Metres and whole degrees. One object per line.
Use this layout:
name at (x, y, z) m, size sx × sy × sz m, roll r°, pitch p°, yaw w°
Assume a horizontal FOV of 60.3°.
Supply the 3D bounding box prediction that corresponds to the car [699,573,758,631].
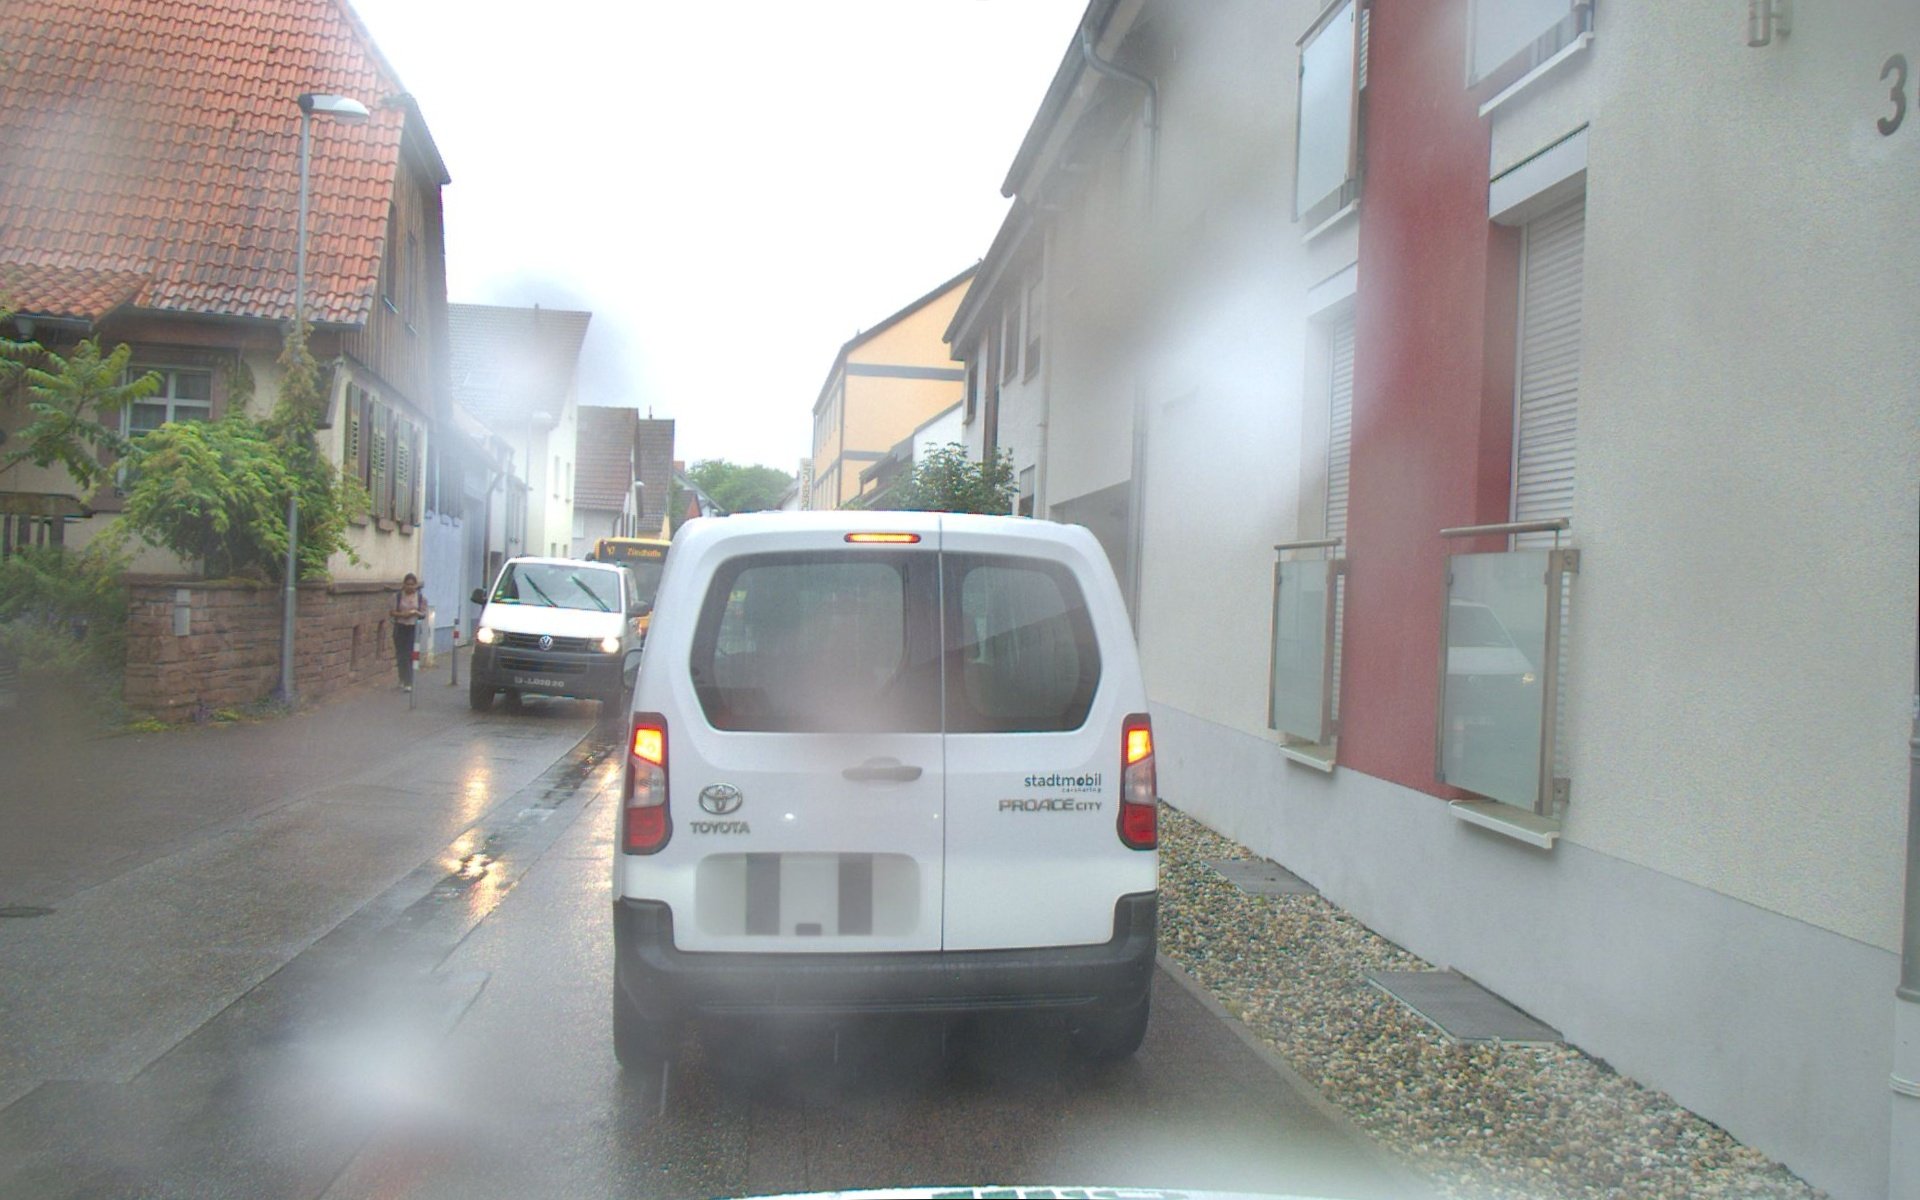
car at (-6.639, 0.070, 47.682) m, size 1.532 × 1.506 × 3.579 m, roll 4°, pitch -1°, yaw -7°

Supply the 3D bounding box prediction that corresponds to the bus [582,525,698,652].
bus at (-9.679, -0.273, 50.779) m, size 2.741 × 3.387 × 8.164 m, roll 4°, pitch -1°, yaw -7°

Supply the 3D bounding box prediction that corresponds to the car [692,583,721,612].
car at (-16.245, -0.148, 105.947) m, size 1.549 × 1.754 × 3.546 m, roll 3°, pitch -1°, yaw -6°

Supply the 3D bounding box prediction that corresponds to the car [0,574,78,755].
car at (-9.192, 0.429, 13.119) m, size 3.459 × 1.400 × 1.593 m, roll 3°, pitch 0°, yaw -5°

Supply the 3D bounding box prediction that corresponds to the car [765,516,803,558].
car at (-9.901, -3.492, 92.968) m, size 1.955 × 2.049 × 3.994 m, roll 4°, pitch -1°, yaw -6°

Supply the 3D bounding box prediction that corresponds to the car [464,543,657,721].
car at (-5.157, 0.407, 21.940) m, size 1.857 × 2.001 × 4.715 m, roll 4°, pitch -1°, yaw -7°

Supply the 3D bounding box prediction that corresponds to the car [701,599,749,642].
car at (-8.407, 0.740, 59.260) m, size 1.532 × 1.395 × 3.579 m, roll 4°, pitch -1°, yaw -7°

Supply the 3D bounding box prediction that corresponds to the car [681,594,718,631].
car at (-13.257, 0.641, 84.370) m, size 1.549 × 1.754 × 3.546 m, roll 3°, pitch -1°, yaw -6°

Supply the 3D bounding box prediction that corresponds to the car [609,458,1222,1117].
car at (-0.367, 0.552, 6.807) m, size 1.761 × 1.850 × 4.094 m, roll 1°, pitch -1°, yaw -8°

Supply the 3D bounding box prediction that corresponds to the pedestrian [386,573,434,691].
pedestrian at (-7.406, 0.428, 22.297) m, size 0.558 × 1.557 × 0.566 m, roll 1°, pitch -1°, yaw -17°

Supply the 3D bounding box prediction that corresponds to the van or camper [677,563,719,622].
van or camper at (-14.157, -0.365, 89.694) m, size 1.800 × 2.976 × 5.356 m, roll 3°, pitch -1°, yaw -6°

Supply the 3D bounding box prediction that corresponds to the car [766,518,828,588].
car at (-5.353, -1.489, 54.070) m, size 1.793 × 2.049 × 3.687 m, roll 4°, pitch -1°, yaw -7°

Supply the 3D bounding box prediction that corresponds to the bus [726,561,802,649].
bus at (-8.195, 0.224, 68.902) m, size 2.741 × 3.235 × 8.164 m, roll 4°, pitch -1°, yaw -7°
